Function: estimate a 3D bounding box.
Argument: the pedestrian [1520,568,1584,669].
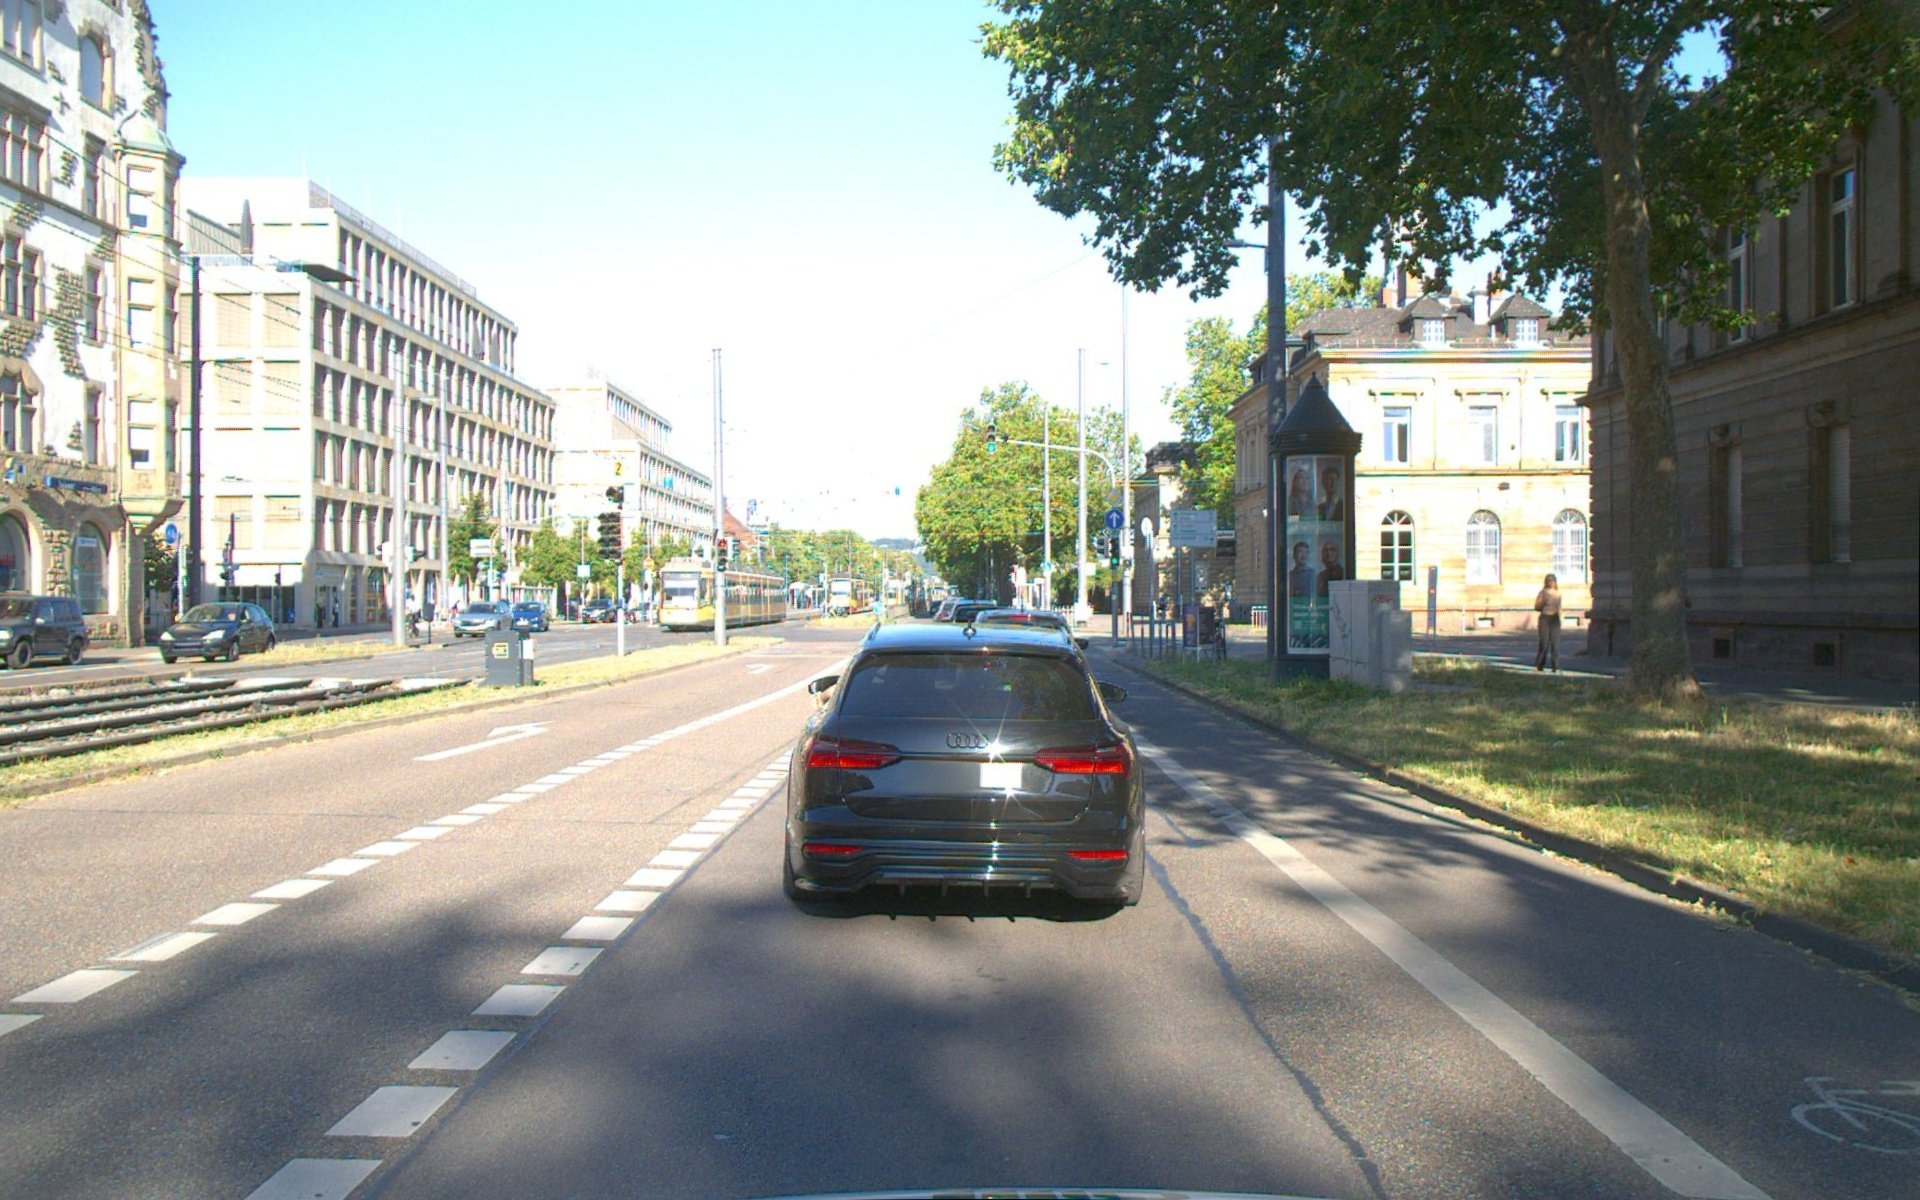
[{"bbox_3d":[10.390,0.316,29.057,0.753,1.739,1.042,-1,0,1],"label":"pedestrian"}]

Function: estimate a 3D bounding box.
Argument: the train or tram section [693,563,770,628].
[{"bbox_3d":[-13.275,-0.256,97.152,2.755,3.550,13.202,-1,0,0],"label":"train or tram section"}]

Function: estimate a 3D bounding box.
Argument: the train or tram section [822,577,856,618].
[{"bbox_3d":[-10.782,-0.222,148.519,2.556,3.511,11.127,-1,0,-2],"label":"train or tram section"}]

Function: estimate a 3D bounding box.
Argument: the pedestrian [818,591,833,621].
[{"bbox_3d":[-7.906,0.358,97.398,0.728,1.772,0.660,-1,0,-17],"label":"pedestrian"}]

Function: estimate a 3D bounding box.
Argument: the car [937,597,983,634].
[{"bbox_3d":[-0.005,0.638,69.786,1.863,1.512,4.144,0,0,0],"label":"car"}]

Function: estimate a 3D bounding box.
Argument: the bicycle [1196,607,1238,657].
[{"bbox_3d":[5.717,0.697,36.851,0.529,1.080,1.770,-1,0,-4],"label":"bicycle"}]

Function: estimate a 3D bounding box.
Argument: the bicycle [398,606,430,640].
[{"bbox_3d":[-23.012,0.958,69.710,0.671,1.406,1.947,-1,0,1],"label":"bicycle"}]

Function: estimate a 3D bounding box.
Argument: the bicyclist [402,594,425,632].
[{"bbox_3d":[-23.018,0.546,69.679,0.671,1.590,0.785,-1,0,1],"label":"bicyclist"}]

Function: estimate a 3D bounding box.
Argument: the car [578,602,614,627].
[{"bbox_3d":[-26.872,1.060,122.340,1.804,1.844,4.112,-1,0,-1],"label":"car"}]

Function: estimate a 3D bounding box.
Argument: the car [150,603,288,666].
[{"bbox_3d":[-18.628,0.834,41.768,1.783,1.482,4.163,-1,0,-3],"label":"car"}]

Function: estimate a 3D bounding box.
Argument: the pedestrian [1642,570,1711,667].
[{"bbox_3d":[12.450,0.318,28.757,0.753,1.634,0.986,-1,0,1],"label":"pedestrian"}]

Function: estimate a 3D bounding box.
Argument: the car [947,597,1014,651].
[{"bbox_3d":[0.583,0.668,48.620,1.863,1.512,4.144,0,0,0],"label":"car"}]

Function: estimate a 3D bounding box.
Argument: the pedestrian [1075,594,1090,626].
[{"bbox_3d":[6.550,0.534,88.366,0.668,1.690,0.758,-1,0,-2],"label":"pedestrian"}]

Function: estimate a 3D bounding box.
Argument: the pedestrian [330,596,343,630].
[{"bbox_3d":[-34.248,0.716,90.870,0.527,1.876,0.437,-1,0,-38],"label":"pedestrian"}]

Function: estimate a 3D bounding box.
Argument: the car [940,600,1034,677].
[{"bbox_3d":[0.539,0.759,34.853,1.863,1.512,4.144,0,0,0],"label":"car"}]

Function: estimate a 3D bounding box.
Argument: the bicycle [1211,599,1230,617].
[{"bbox_3d":[16.493,0.502,104.651,0.516,1.065,2.355,-1,0,-8],"label":"bicycle"}]

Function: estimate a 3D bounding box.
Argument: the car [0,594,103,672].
[{"bbox_3d":[-22.409,0.746,39.559,1.682,1.704,4.215,2,0,-2],"label":"car"}]

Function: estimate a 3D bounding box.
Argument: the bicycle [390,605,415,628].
[{"bbox_3d":[-31.943,0.933,94.808,0.563,1.237,2.389,-1,0,1],"label":"bicycle"}]

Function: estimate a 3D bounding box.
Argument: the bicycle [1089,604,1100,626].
[{"bbox_3d":[7.193,0.797,88.317,0.426,1.165,1.340,-1,0,-2],"label":"bicycle"}]

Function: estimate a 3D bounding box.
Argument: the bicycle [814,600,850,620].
[{"bbox_3d":[-7.423,0.586,95.863,1.975,1.127,0.760,-1,0,-19],"label":"bicycle"}]

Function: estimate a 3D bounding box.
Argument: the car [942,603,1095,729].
[{"bbox_3d":[0.717,0.808,22.274,1.863,1.512,4.144,0,0,0],"label":"car"}]

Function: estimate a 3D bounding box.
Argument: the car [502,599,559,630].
[{"bbox_3d":[-21.113,0.696,81.387,1.783,1.482,4.156,-1,0,-1],"label":"car"}]

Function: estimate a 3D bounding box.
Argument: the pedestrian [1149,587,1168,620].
[{"bbox_3d":[11.520,0.194,95.953,0.959,1.898,0.827,-1,0,1],"label":"pedestrian"}]

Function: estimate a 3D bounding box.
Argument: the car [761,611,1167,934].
[{"bbox_3d":[0.025,0.808,9.676,1.863,1.446,4.144,0,0,0],"label":"car"}]

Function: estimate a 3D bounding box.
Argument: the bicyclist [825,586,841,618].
[{"bbox_3d":[-7.360,0.121,95.879,0.745,1.850,0.760,-1,0,-18],"label":"bicyclist"}]

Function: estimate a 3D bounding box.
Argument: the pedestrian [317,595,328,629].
[{"bbox_3d":[-34.916,0.671,90.608,0.468,1.876,0.437,-1,0,-38],"label":"pedestrian"}]

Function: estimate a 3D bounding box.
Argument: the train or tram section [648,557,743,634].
[{"bbox_3d":[-13.219,-0.221,83.935,2.755,3.550,13.202,-1,0,0],"label":"train or tram section"}]

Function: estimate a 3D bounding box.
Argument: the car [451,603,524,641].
[{"bbox_3d":[-19.728,0.887,69.191,1.783,1.482,4.539,-1,0,-1],"label":"car"}]
